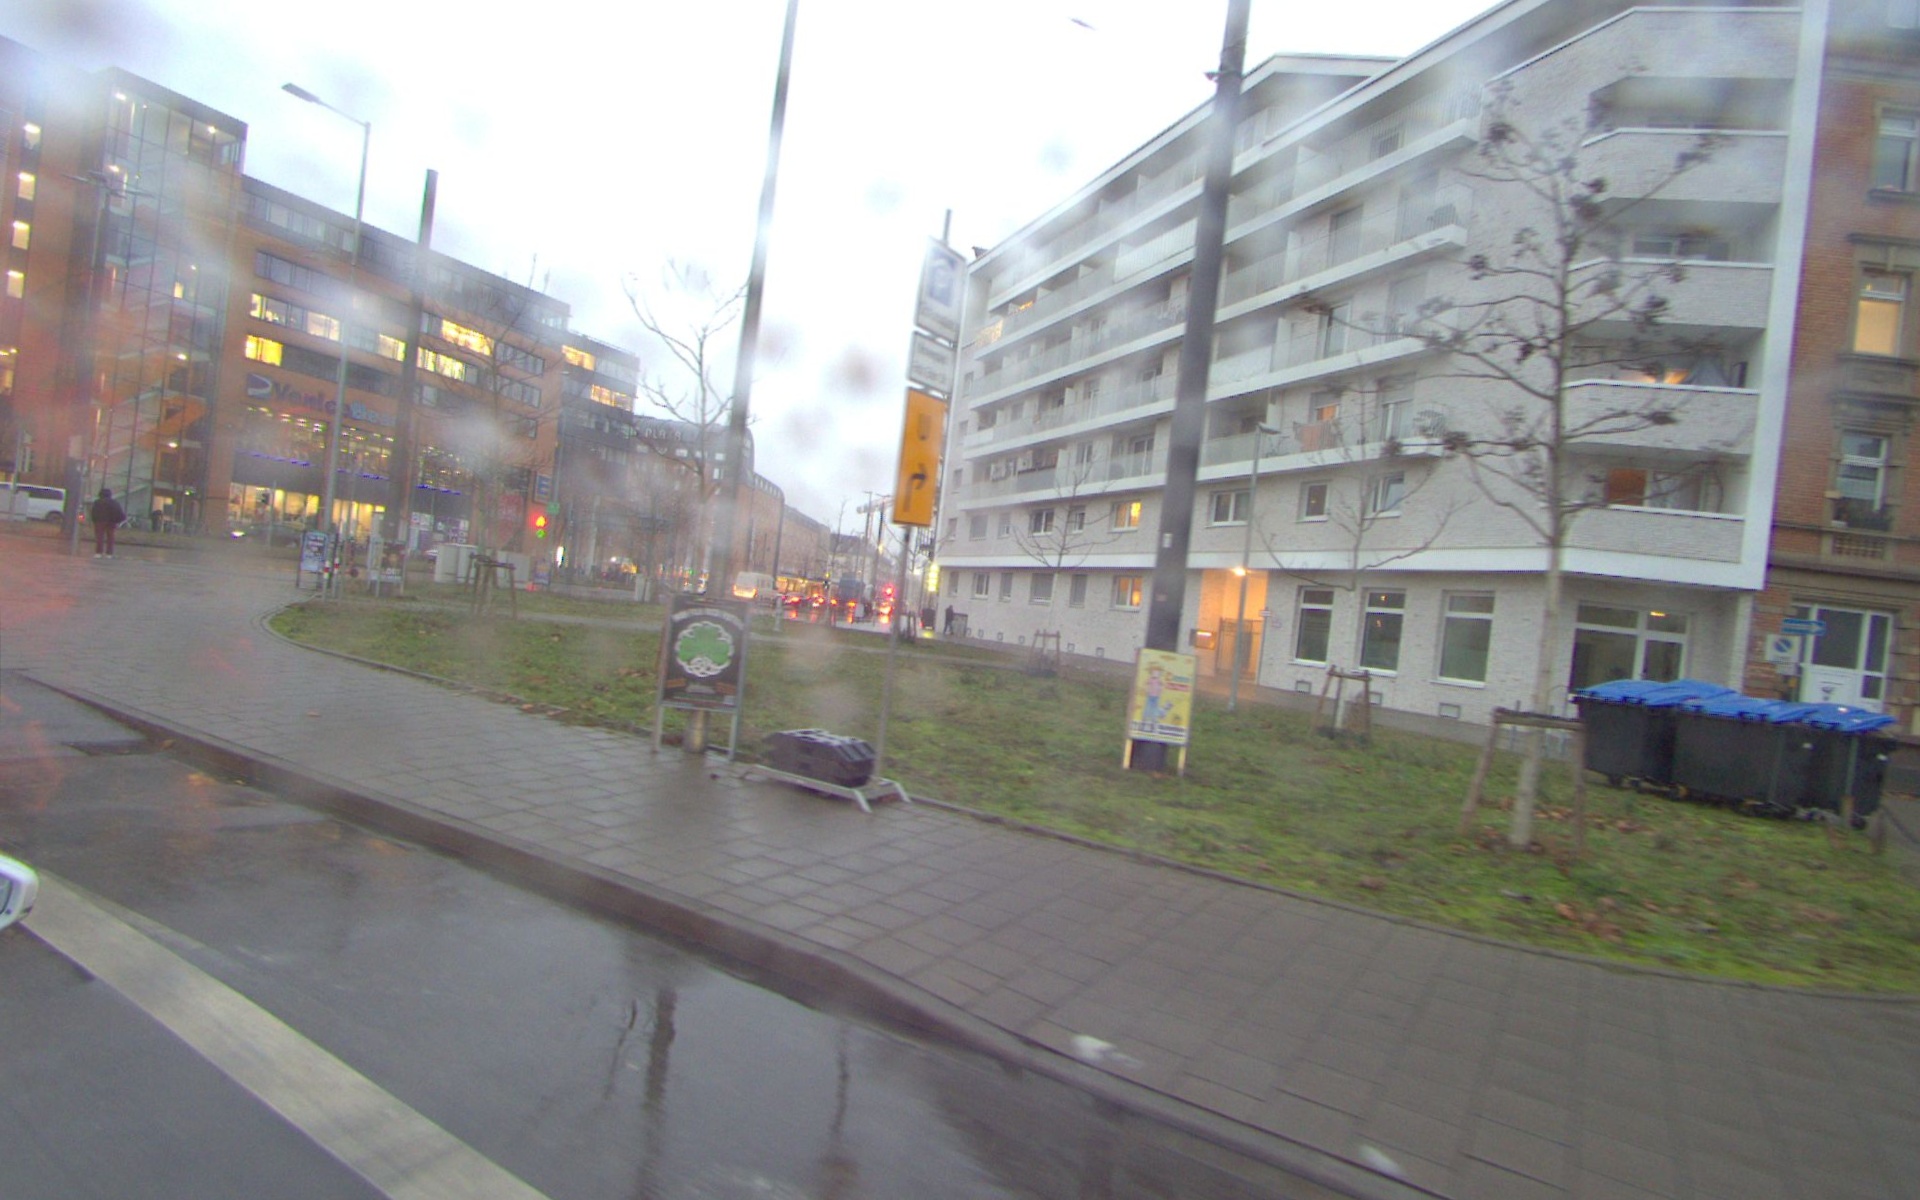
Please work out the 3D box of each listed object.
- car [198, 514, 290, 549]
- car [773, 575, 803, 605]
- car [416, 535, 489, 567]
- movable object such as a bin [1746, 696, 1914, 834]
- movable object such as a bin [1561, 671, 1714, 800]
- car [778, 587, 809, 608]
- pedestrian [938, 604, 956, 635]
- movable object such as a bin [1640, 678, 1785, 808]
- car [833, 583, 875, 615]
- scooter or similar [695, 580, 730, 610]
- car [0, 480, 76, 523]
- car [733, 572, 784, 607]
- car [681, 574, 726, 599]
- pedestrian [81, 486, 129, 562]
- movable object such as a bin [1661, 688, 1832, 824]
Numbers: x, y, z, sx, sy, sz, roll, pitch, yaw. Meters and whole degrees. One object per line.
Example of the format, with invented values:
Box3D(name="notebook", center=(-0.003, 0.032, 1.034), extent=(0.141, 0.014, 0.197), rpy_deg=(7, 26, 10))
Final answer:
Box3D(name="car", center=(-43.428, -4.135, 61.111), extent=(1.598, 1.462, 4.425), rpy_deg=(7, -1, 17))
Box3D(name="car", center=(-18.690, -1.003, 109.542), extent=(2.321, 2.860, 6.355), rpy_deg=(7, -1, -4))
Box3D(name="car", center=(-37.859, -3.664, 75.162), extent=(1.894, 1.740, 4.610), rpy_deg=(7, -1, 22))
Box3D(name="movable object such as a bin", center=(11.074, 2.077, 12.835), extent=(1.038, 1.503, 1.135), rpy_deg=(7, 0, -19))
Box3D(name="movable object such as a bin", center=(9.377, 1.854, 13.972), extent=(1.038, 1.529, 1.247), rpy_deg=(7, 0, -19))
Box3D(name="car", center=(-15.061, -0.177, 91.349), extent=(1.494, 1.538, 3.474), rpy_deg=(7, -2, 11))
Box3D(name="pedestrian", center=(-0.721, 1.098, 56.067), extent=(0.621, 1.652, 0.721), rpy_deg=(7, 0, 24))
Box3D(name="movable object such as a bin", center=(10.689, 2.012, 14.321), extent=(1.038, 1.595, 1.135), rpy_deg=(7, 0, -19))
Box3D(name="car", center=(-11.283, -0.069, 107.558), extent=(2.317, 2.860, 6.364), rpy_deg=(7, -1, 12))
Box3D(name="scooter or similar", center=(-11.943, -0.212, 48.567), extent=(0.658, 1.241, 1.556), rpy_deg=(6, -2, 27))
Box3D(name="car", center=(-47.057, -5.001, 49.723), extent=(1.754, 1.697, 4.651), rpy_deg=(7, -1, 22))
Box3D(name="car", center=(-16.898, -0.834, 84.701), extent=(1.962, 2.456, 5.979), rpy_deg=(7, -1, 10))
Box3D(name="car", center=(-19.420, -0.983, 76.179), extent=(1.613, 1.514, 3.687), rpy_deg=(7, 0, 14))
Box3D(name="pedestrian", center=(-22.936, -2.025, 27.007), extent=(0.768, 1.901, 0.629), rpy_deg=(6, 0, -36))
Box3D(name="movable object such as a bin", center=(9.945, 1.954, 12.764), extent=(1.038, 1.449, 1.220), rpy_deg=(7, 0, -19))
